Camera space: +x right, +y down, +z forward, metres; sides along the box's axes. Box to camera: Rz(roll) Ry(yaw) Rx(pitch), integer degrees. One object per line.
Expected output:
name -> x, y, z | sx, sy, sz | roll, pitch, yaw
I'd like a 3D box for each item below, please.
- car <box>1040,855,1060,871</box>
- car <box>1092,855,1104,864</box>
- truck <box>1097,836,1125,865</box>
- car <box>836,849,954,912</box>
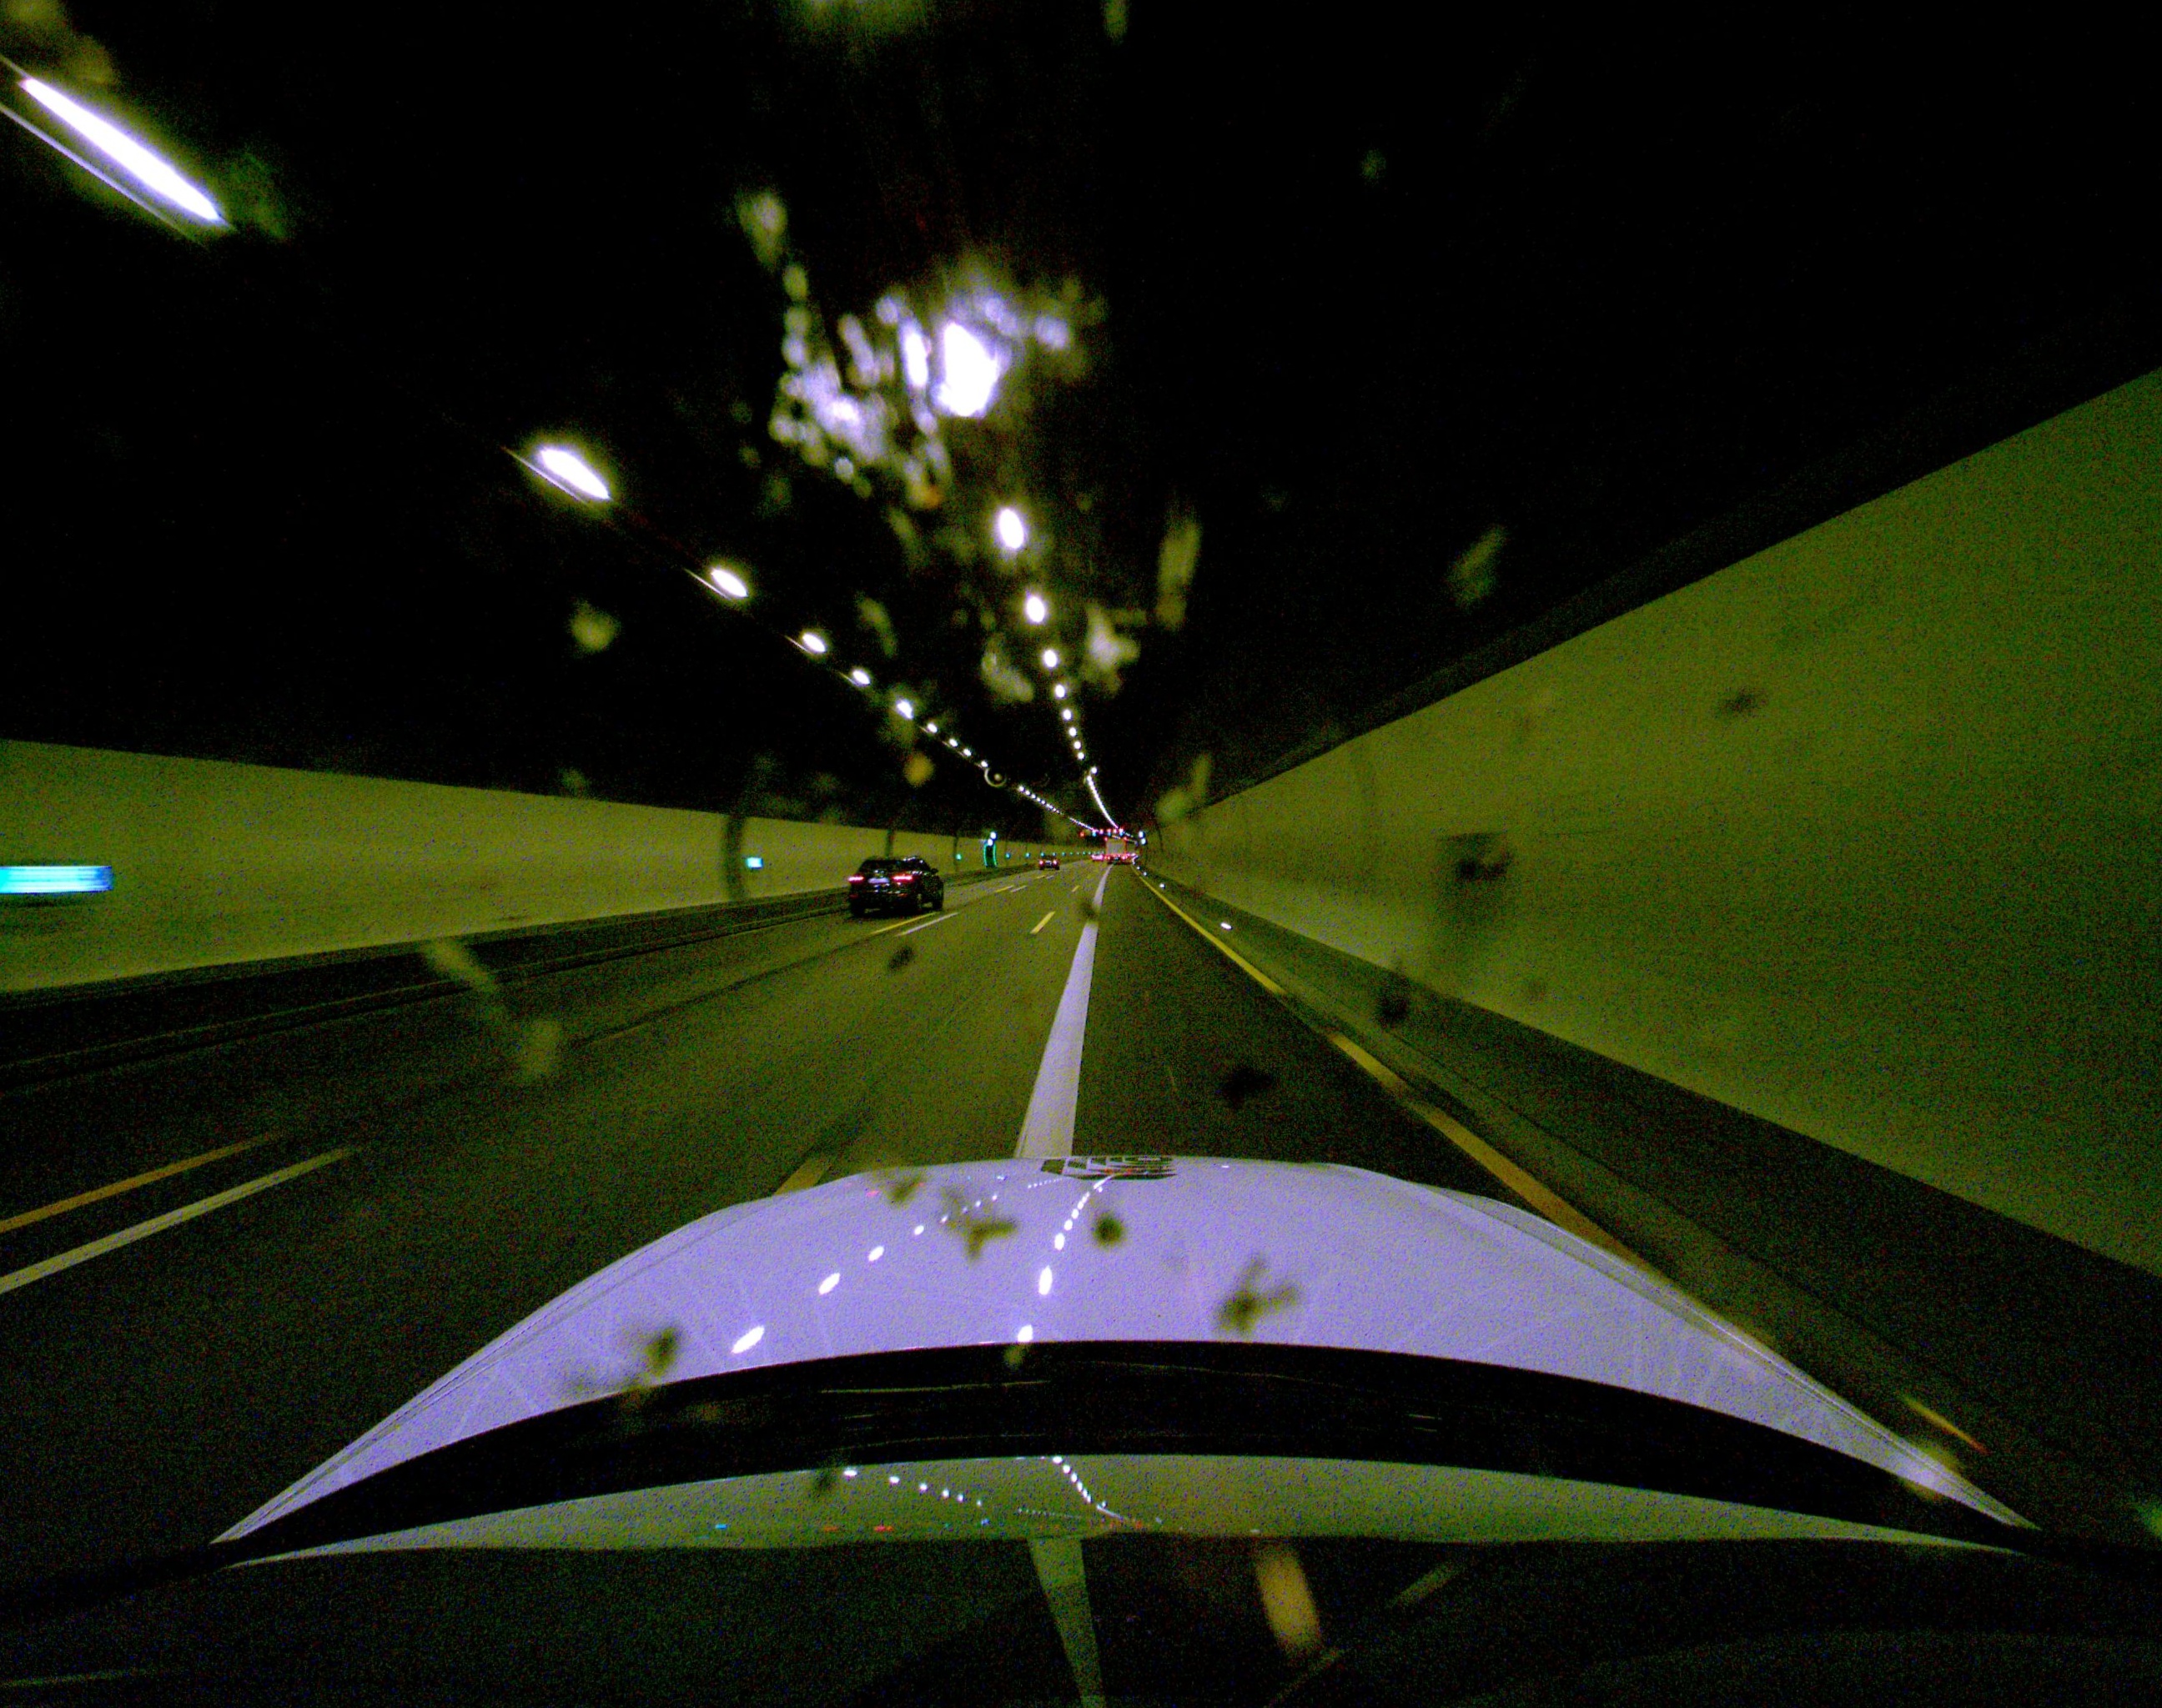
car -> -2.897, 0.846, 77.090 | 1.683, 1.417, 3.923 | 1, 0, 1
car -> 2.863, 0.876, 135.585 | 1.986, 1.413, 4.743 | 1, 0, 1
truck -> 4.092, -0.454, 110.423 | 3.579, 3.650, 10.726 | 1, 0, 2
car -> -5.018, 0.682, 22.734 | 1.986, 1.540, 4.745 | 1, -1, 2
